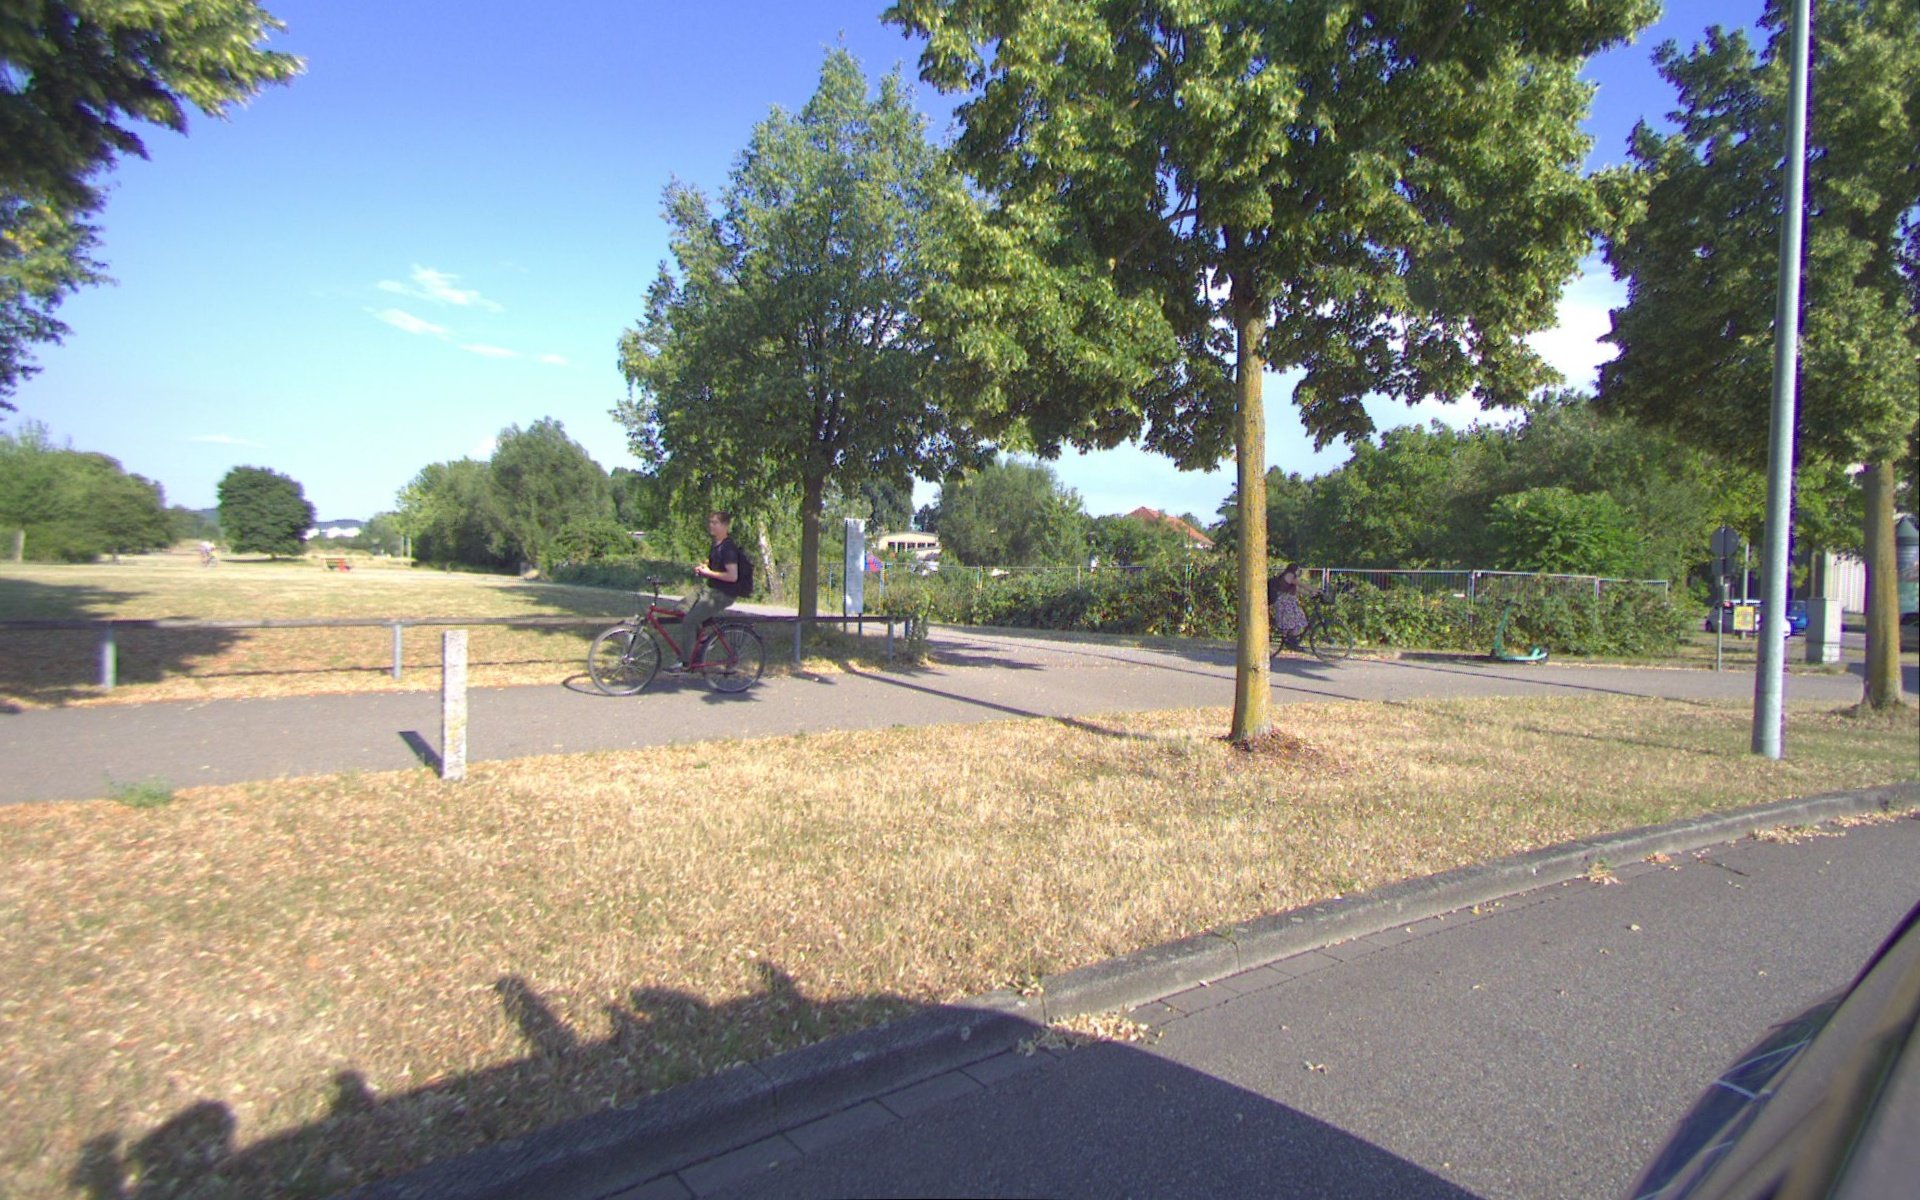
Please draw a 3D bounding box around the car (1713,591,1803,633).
[{"bbox_3d":[33.353,0.458,42.405,1.562,1.581,3.612,2,1,14],"label":"car"}]

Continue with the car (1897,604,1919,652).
[{"bbox_3d":[29.894,0.904,29.935,1.562,1.441,3.612,2,2,14],"label":"car"}]

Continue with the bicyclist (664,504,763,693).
[{"bbox_3d":[-2.529,-0.018,10.354,0.813,1.852,0.622,2,2,-24],"label":"bicyclist"}]

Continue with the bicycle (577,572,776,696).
[{"bbox_3d":[-2.847,0.337,10.233,1.852,1.172,0.417,1,2,-26],"label":"bicycle"}]

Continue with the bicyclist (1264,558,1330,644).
[{"bbox_3d":[5.621,0.006,16.924,0.966,1.379,0.556,2,1,15],"label":"bicyclist"}]

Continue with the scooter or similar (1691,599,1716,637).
[{"bbox_3d":[23.312,0.559,31.733,0.246,1.140,1.088,5,2,20],"label":"scooter or similar"}]

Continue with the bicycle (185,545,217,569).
[{"bbox_3d":[-45.770,-2.591,61.024,1.914,1.468,0.391,0,1,14],"label":"bicycle"}]

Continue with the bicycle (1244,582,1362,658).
[{"bbox_3d":[5.701,0.313,16.896,1.803,1.170,0.489,2,1,15],"label":"bicycle"}]

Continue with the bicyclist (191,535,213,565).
[{"bbox_3d":[-45.713,-3.017,61.036,0.915,1.802,0.635,0,1,14],"label":"bicyclist"}]

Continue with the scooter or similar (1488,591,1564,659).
[{"bbox_3d":[10.158,0.443,18.174,1.147,1.174,0.343,2,1,-3],"label":"scooter or similar"}]
